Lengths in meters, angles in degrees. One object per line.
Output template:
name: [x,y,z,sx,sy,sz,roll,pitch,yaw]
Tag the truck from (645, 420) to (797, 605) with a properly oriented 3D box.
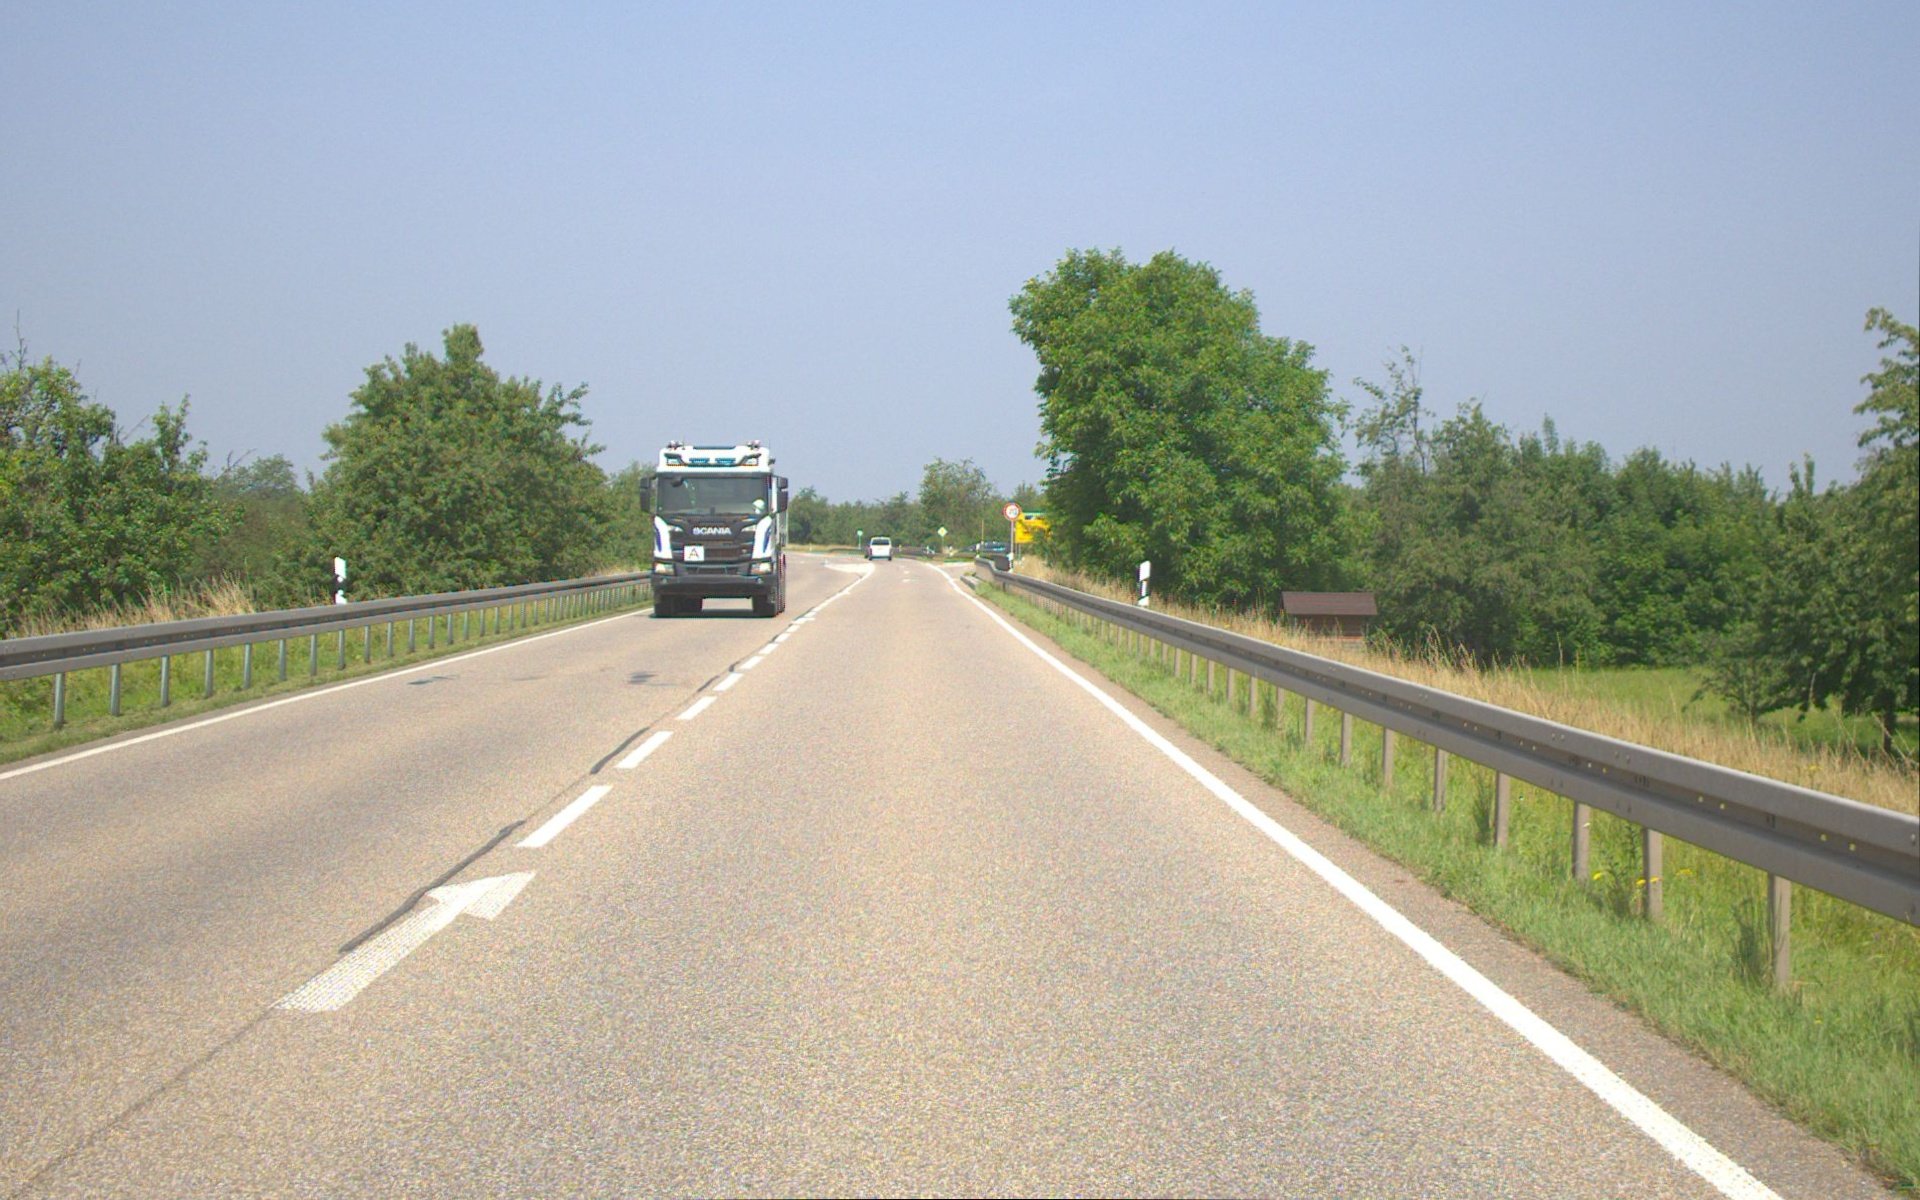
truck: [-4.970,-1.777,73.021,2.728,3.659,9.384,0,1,-1]
